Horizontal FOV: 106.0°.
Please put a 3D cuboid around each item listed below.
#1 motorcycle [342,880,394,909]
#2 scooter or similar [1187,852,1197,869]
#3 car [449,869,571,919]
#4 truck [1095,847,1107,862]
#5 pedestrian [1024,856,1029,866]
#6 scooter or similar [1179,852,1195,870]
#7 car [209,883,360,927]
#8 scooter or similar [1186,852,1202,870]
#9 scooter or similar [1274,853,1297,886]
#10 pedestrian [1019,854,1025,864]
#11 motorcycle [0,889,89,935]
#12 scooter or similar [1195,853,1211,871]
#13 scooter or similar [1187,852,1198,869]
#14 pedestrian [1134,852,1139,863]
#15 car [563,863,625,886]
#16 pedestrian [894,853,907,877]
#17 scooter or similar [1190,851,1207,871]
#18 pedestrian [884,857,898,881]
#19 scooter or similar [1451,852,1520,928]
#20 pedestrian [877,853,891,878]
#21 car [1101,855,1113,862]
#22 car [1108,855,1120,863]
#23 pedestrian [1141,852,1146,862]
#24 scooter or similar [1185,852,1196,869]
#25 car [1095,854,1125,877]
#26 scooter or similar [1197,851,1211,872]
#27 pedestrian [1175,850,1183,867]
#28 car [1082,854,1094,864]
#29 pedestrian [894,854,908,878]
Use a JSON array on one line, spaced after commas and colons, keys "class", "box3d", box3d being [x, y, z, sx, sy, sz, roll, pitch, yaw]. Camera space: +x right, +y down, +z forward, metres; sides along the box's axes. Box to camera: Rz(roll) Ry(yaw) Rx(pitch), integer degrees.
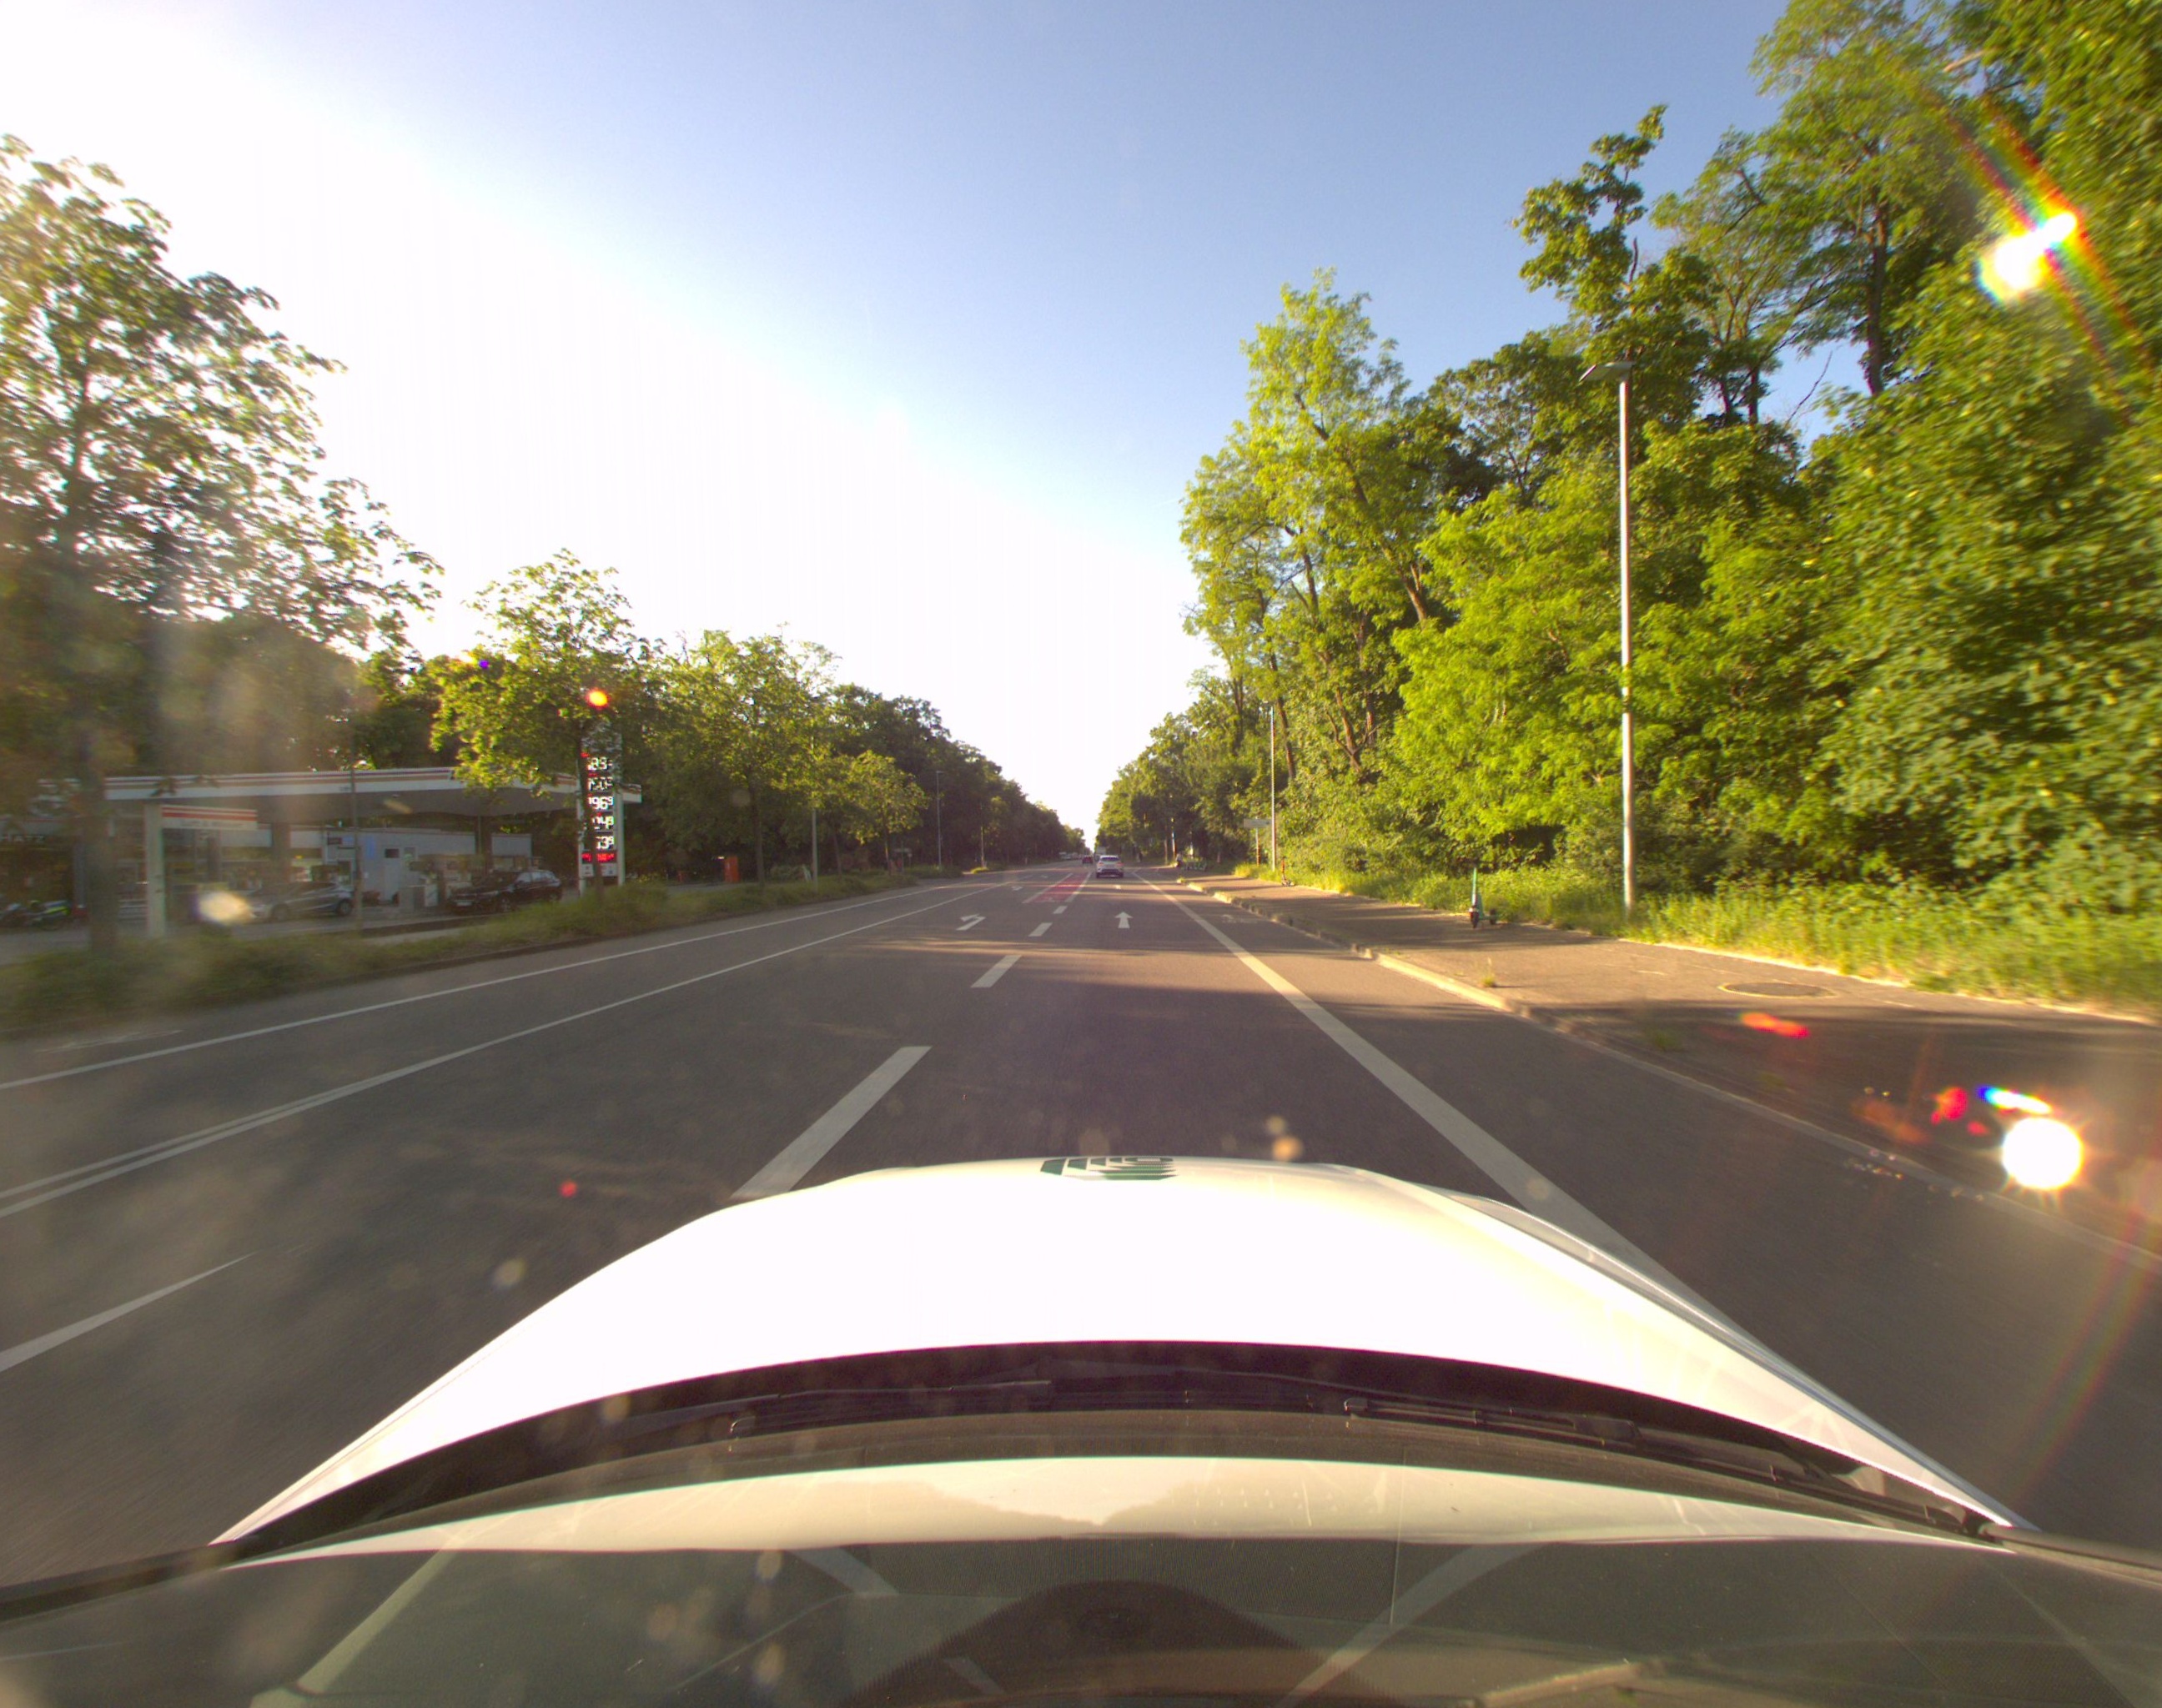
[{"class": "motorcycle", "box3d": [-36.524, 2.056, 41.727, 1.830, 1.363, 0.928, -2, 0, 2]}, {"class": "scooter or similar", "box3d": [9.372, 0.568, 68.739, 0.678, 1.423, 1.249, -2, 0, 10]}, {"class": "car", "box3d": [-22.009, 1.487, 31.632, 1.706, 1.691, 4.449, -2, 0, -2]}, {"class": "truck", "box3d": [4.920, 0.056, 200.231, 2.790, 3.570, 8.033, -1, 0, 0]}, {"class": "pedestrian", "box3d": [-11.135, 1.340, 165.789, 0.827, 2.013, 1.270, -2, 0, 3]}, {"class": "scooter or similar", "box3d": [8.548, 0.562, 65.928, 0.683, 1.423, 1.673, -2, 0, -14]}, {"class": "car", "box3d": [-30.225, 1.880, 31.097, 1.705, 1.376, 4.060, -2, 0, 1]}, {"class": "scooter or similar", "box3d": [8.907, 0.546, 64.241, 0.683, 1.423, 1.673, -2, 0, -14]}, {"class": "scooter or similar", "box3d": [8.126, 0.593, 32.449, 0.531, 1.250, 1.542, -2, 0, 2]}, {"class": "pedestrian", "box3d": [-12.024, 0.945, 165.827, 0.859, 2.013, 1.270, -2, 0, 4]}, {"class": "motorcycle", "box3d": [-36.828, 2.015, 28.312, 1.120, 1.451, 2.763, -2, 0, 28]}, {"class": "scooter or similar", "box3d": [9.023, 0.600, 60.068, 0.467, 1.306, 1.471, -2, 0, -20]}, {"class": "scooter or similar", "box3d": [9.226, 0.533, 67.228, 0.679, 1.423, 1.682, -2, 0, 2]}, {"class": "pedestrian", "box3d": [8.853, 0.531, 129.559, 0.696, 1.653, 0.876, -2, 0, 1]}, {"class": "car", "box3d": [-43.387, 1.816, 72.645, 1.974, 1.820, 4.298, -2, 0, 31]}, {"class": "pedestrian", "box3d": [-15.523, 0.980, 69.906, 0.710, 2.013, 0.752, -2, 0, 32]}, {"class": "scooter or similar", "box3d": [8.968, 0.540, 62.167, 0.682, 1.423, 1.674, -2, 0, -12]}, {"class": "pedestrian", "box3d": [-15.751, 1.237, 67.666, 0.710, 2.013, 0.802, -2, -1, 29]}, {"class": "scooter or similar", "box3d": [7.269, 0.619, 14.602, 1.550, 1.250, 0.528, -2, 0, -42]}, {"class": "pedestrian", "box3d": [-16.171, 0.923, 66.921, 0.710, 2.013, 0.802, -2, 0, 29]}, {"class": "car", "box3d": [5.012, 0.851, 156.448, 1.988, 1.327, 3.997, -2, 0, -2]}, {"class": "car", "box3d": [5.665, 0.810, 140.733, 1.987, 1.327, 4.001, -2, 0, 1]}, {"class": "pedestrian", "box3d": [9.897, 0.433, 129.563, 0.741, 1.599, 0.798, -2, 0, 1]}, {"class": "scooter or similar", "box3d": [9.461, 0.574, 70.277, 0.679, 1.423, 1.682, -2, 0, 2]}, {"class": "car", "box3d": [1.915, 0.763, 55.036, 1.757, 1.459, 3.814, 0, 0, -2]}, {"class": "scooter or similar", "box3d": [8.795, 0.546, 58.217, 0.679, 1.423, 1.682, -2, 0, 1]}, {"class": "pedestrian", "box3d": [9.031, 0.423, 75.086, 0.751, 1.563, 0.804, -2, 0, 6]}, {"class": "car", "box3d": [1.188, 0.837, 136.839, 1.986, 1.519, 4.002, -2, 0, 2]}, {"class": "pedestrian", "box3d": [-15.464, 1.040, 69.971, 0.710, 2.013, 0.880, -2, 0, 32]}]
